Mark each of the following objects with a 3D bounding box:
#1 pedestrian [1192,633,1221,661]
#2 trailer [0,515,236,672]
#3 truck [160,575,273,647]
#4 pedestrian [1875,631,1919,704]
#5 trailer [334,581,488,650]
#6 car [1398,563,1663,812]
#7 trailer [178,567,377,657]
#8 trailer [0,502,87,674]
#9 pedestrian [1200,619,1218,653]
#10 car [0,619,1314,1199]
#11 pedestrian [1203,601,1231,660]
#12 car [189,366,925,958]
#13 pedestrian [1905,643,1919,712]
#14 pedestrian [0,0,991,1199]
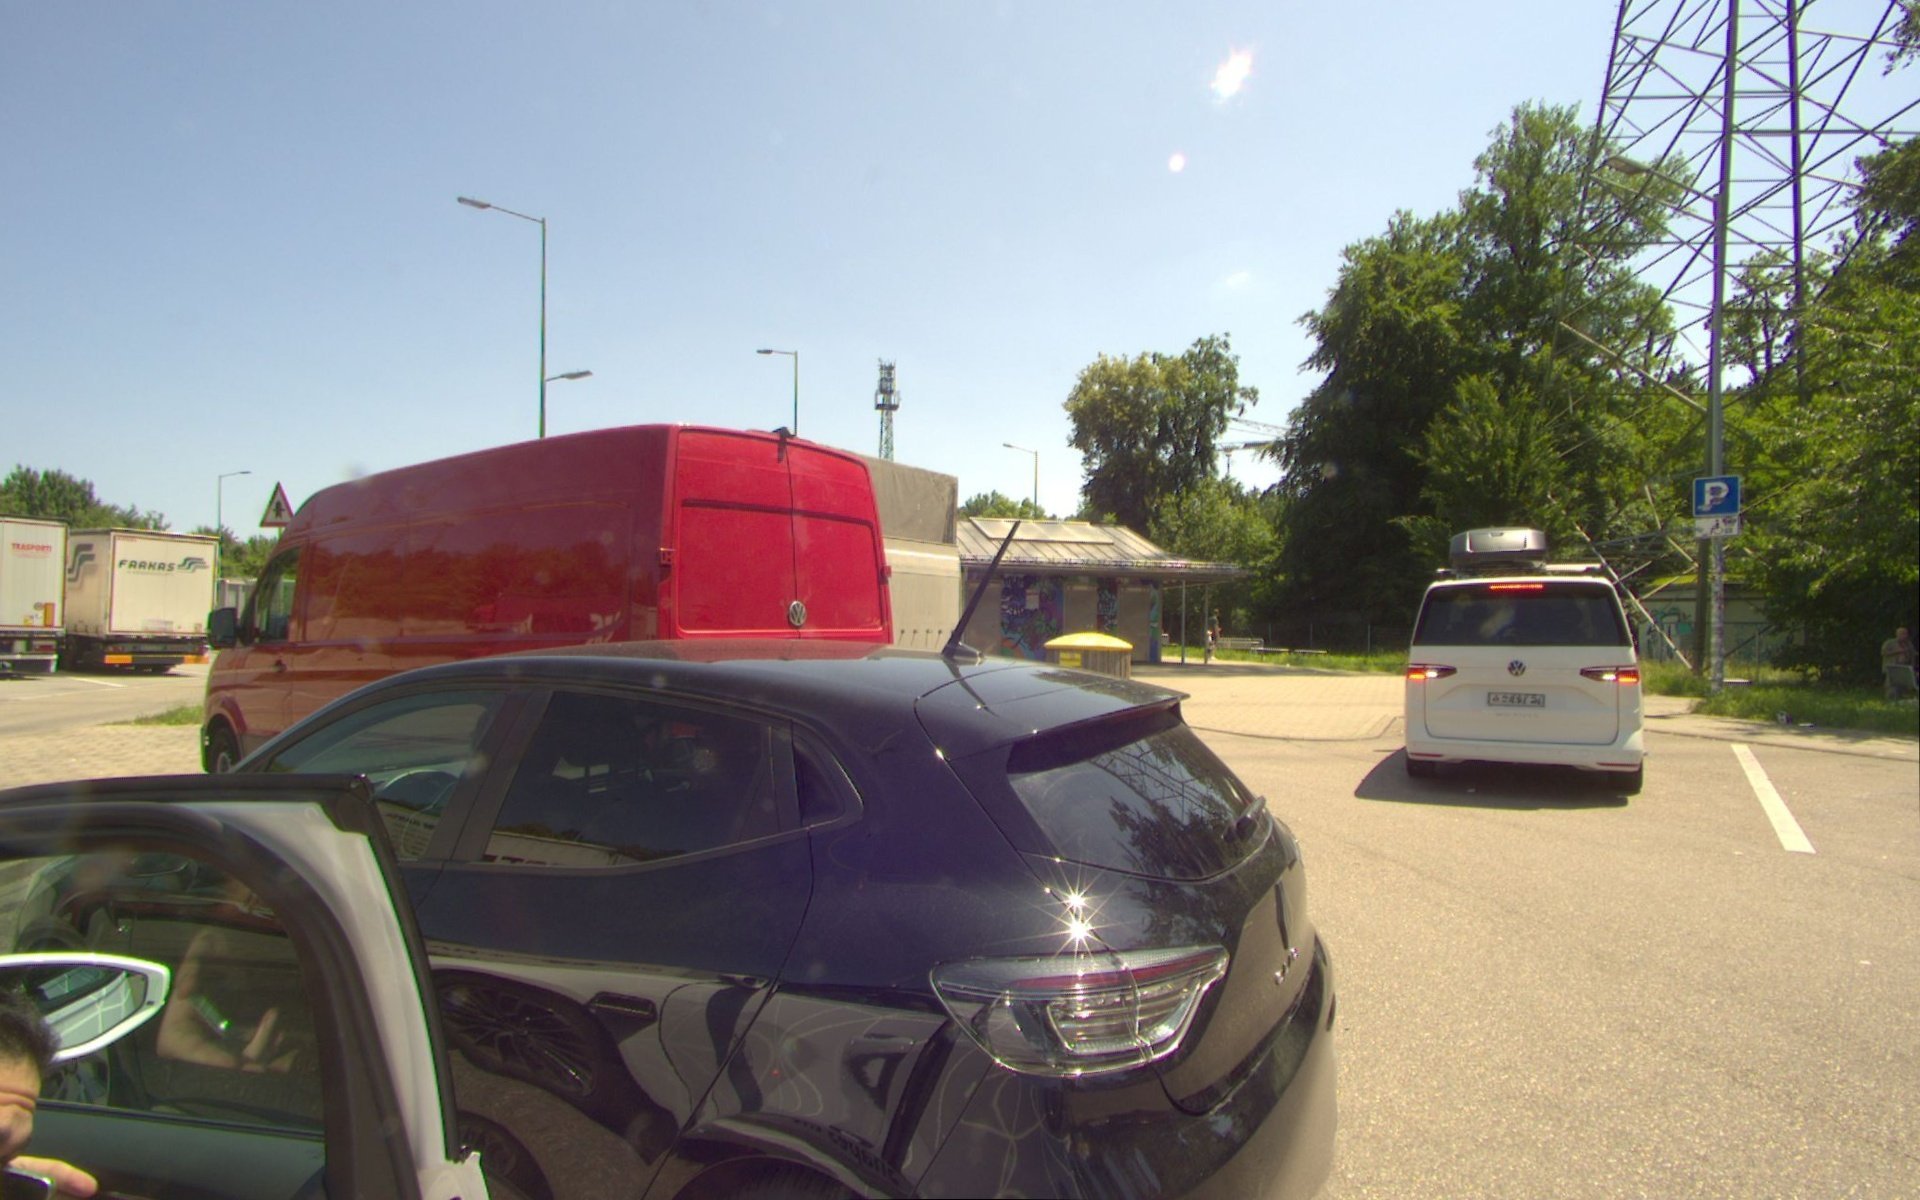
[{"bbox_3d":[8.769,1.662,35.631,0.769,0.960,0.641,1,-2,-37],"label":"pedestrian"},{"bbox_3d":[-27.666,-0.196,31.631,13.523,4.185,2.835,1,-2,33],"label":"trailer"},{"bbox_3d":[-37.702,0.560,50.740,5.405,3.407,2.847,1,-2,34],"label":"truck"},{"bbox_3d":[18.657,1.319,19.834,0.660,1.422,0.647,-1,-1,33],"label":"pedestrian"},{"bbox_3d":[-36.057,0.904,65.434,13.530,4.101,2.833,1,-2,34],"label":"trailer"},{"bbox_3d":[5.640,0.736,10.269,1.882,1.937,4.548,-1,-1,26],"label":"car"},{"bbox_3d":[-32.393,0.477,47.141,13.530,3.764,2.834,1,-2,34],"label":"trailer"},{"bbox_3d":[-28.975,-0.373,28.150,13.523,4.185,2.835,1,-2,33],"label":"trailer"},{"bbox_3d":[11.487,1.670,46.220,0.634,1.547,0.565,0,-1,-16],"label":"pedestrian"},{"bbox_3d":[-1.067,0.835,2.909,3.757,1.501,1.736,0,-1,27],"label":"car"},{"bbox_3d":[9.268,1.101,36.056,0.769,2.067,0.641,1,-1,-37],"label":"pedestrian"},{"bbox_3d":[-3.359,0.310,7.360,6.310,2.731,2.060,0,-1,37],"label":"car"},{"bbox_3d":[17.184,1.352,17.480,0.876,1.192,0.666,-1,-2,32],"label":"pedestrian"},{"bbox_3d":[-0.507,0.589,0.826,0.878,1.865,0.618,-1,-1,35],"label":"pedestrian"}]
